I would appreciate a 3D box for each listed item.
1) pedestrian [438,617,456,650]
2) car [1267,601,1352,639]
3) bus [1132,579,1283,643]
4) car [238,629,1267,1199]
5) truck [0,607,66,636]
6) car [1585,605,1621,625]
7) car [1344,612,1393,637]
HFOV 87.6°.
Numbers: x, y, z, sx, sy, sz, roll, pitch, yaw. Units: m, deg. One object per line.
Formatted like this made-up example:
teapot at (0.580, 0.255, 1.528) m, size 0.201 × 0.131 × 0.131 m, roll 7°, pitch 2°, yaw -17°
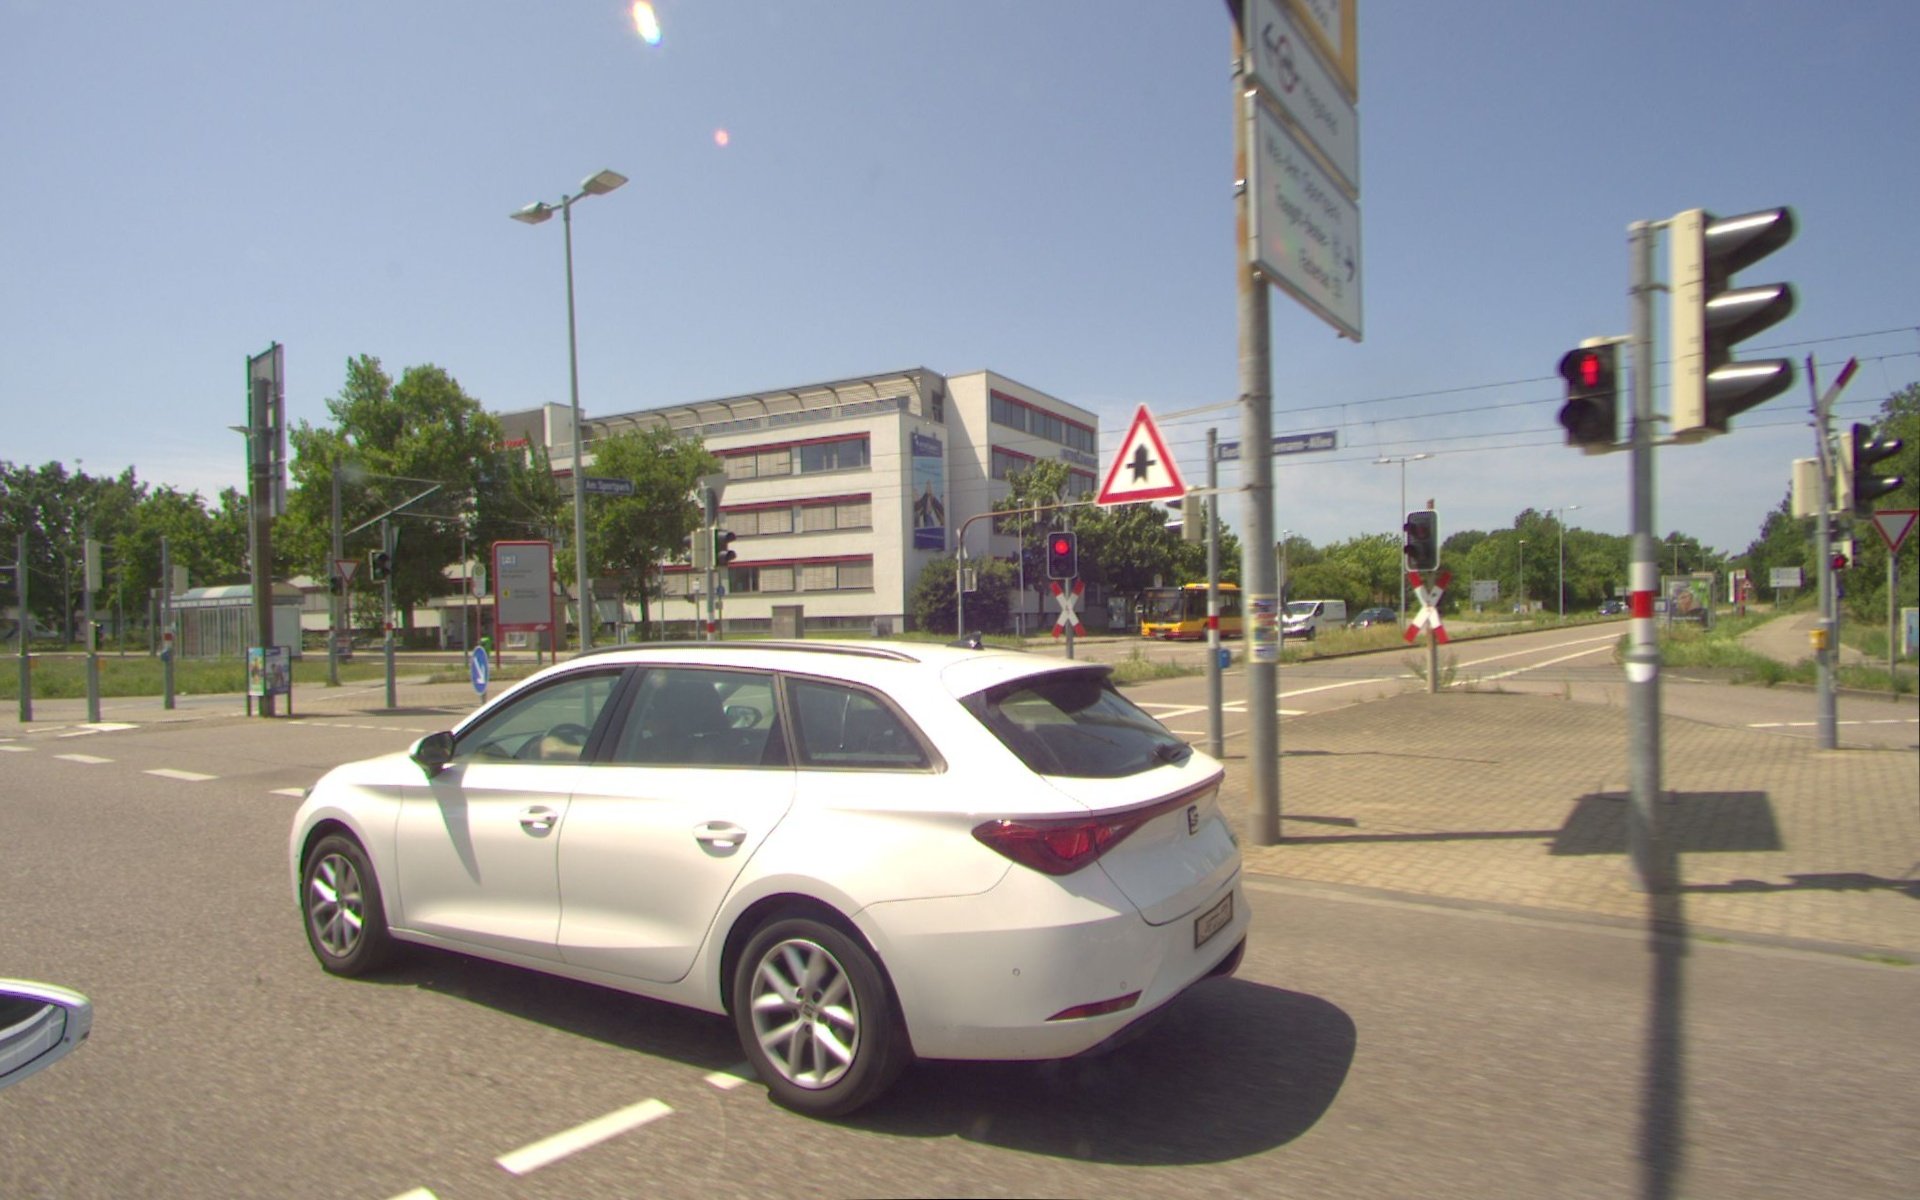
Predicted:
pedestrian at (-25.898, 1.679, 50.529) m, size 0.681 × 1.628 × 0.551 m, roll -2°, pitch -2°, yaw 34°
car at (17.384, 1.033, 49.663) m, size 5.021 × 1.750 × 1.812 m, roll 2°, pitch -3°, yaw -43°
bus at (14.033, 0.669, 55.645) m, size 2.809 × 3.159 × 11.977 m, roll -3°, pitch -2°, yaw 42°
car at (-1.098, 0.852, 4.345) m, size 4.385 × 1.407 × 1.680 m, roll -1°, pitch -1°, yaw 30°
truck at (-98.982, 2.283, 106.128) m, size 2.283 × 2.881 × 5.838 m, roll -2°, pitch 0°, yaw 25°
car at (60.996, 1.428, 94.983) m, size 3.961 × 1.813 × 1.981 m, roll 0°, pitch -1°, yaw -44°
car at (26.090, 1.543, 63.875) m, size 1.655 × 1.600 × 3.967 m, roll -1°, pitch -1°, yaw 42°
